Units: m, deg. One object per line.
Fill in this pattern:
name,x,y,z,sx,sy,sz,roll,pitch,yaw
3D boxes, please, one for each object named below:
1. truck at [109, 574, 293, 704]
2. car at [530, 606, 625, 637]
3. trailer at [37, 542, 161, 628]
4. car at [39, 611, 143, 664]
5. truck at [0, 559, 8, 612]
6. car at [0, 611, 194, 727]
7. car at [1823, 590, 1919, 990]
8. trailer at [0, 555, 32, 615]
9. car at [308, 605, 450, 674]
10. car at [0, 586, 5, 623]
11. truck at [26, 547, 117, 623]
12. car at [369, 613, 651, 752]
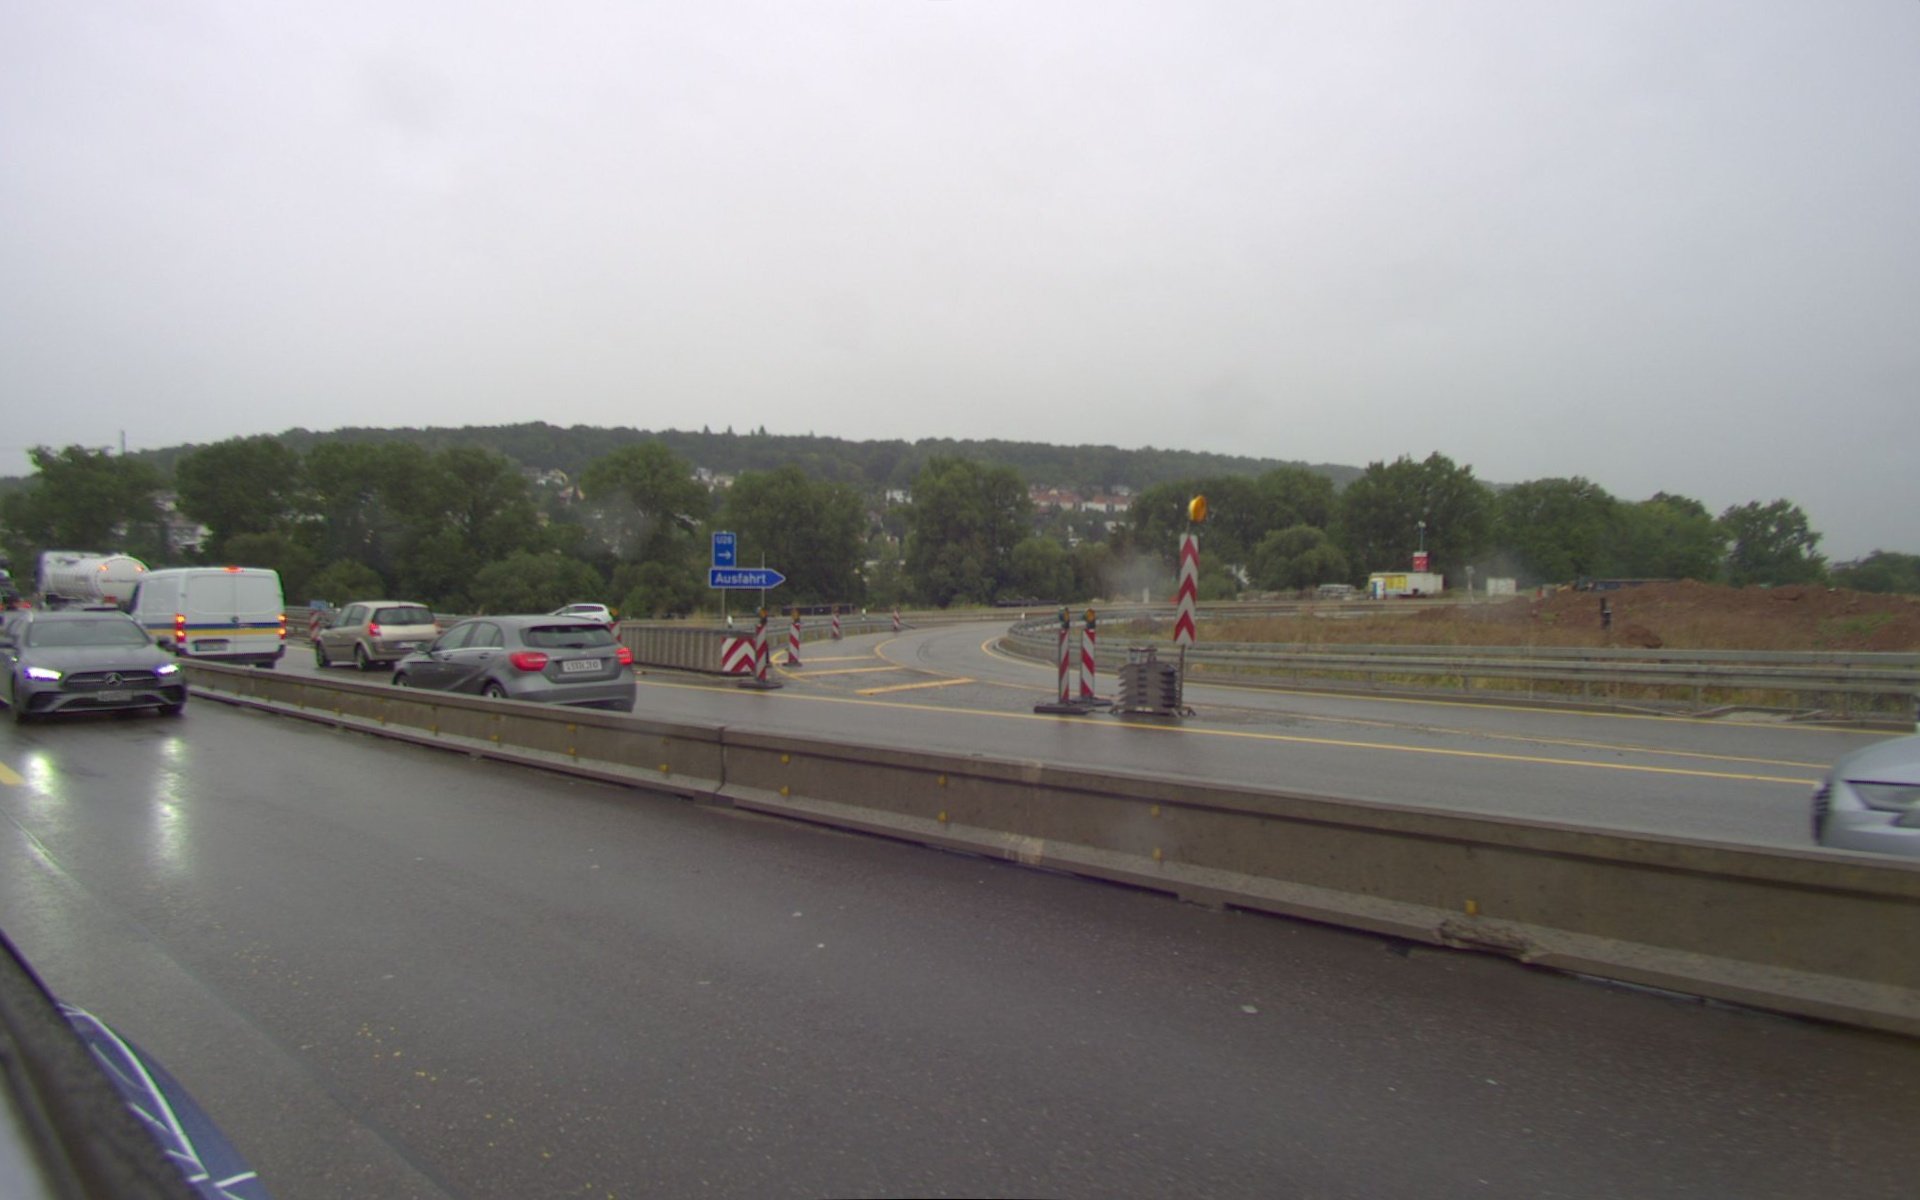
truck,-17.239,0.744,22.849,5.958,2.595,2.057,1,0,40
car,-22.213,1.234,58.922,4.961,1.713,1.855,0,0,-14
trailer,-41.592,-0.680,48.690,11.995,3.705,2.594,0,0,40
car,-27.270,1.120,31.698,4.675,1.516,1.754,0,-1,40
truck,-76.921,-1.143,79.343,6.145,4.093,2.721,1,0,41
car,-13.042,0.926,14.941,4.481,1.449,1.926,-2,-1,41
car,5.684,0.706,3.280,4.342,1.535,1.659,-1,-1,40
trailer,-71.033,-1.087,74.198,15.351,4.072,2.721,1,0,41
car,-14.221,0.908,24.683,3.997,1.558,1.770,-1,-1,40
car,-49.297,0.203,50.569,4.160,1.813,1.847,0,0,40
truck,-46.276,-0.746,52.669,6.590,3.705,2.594,0,0,40
car,-6.106,0.955,13.512,4.309,1.550,1.768,0,-1,41
